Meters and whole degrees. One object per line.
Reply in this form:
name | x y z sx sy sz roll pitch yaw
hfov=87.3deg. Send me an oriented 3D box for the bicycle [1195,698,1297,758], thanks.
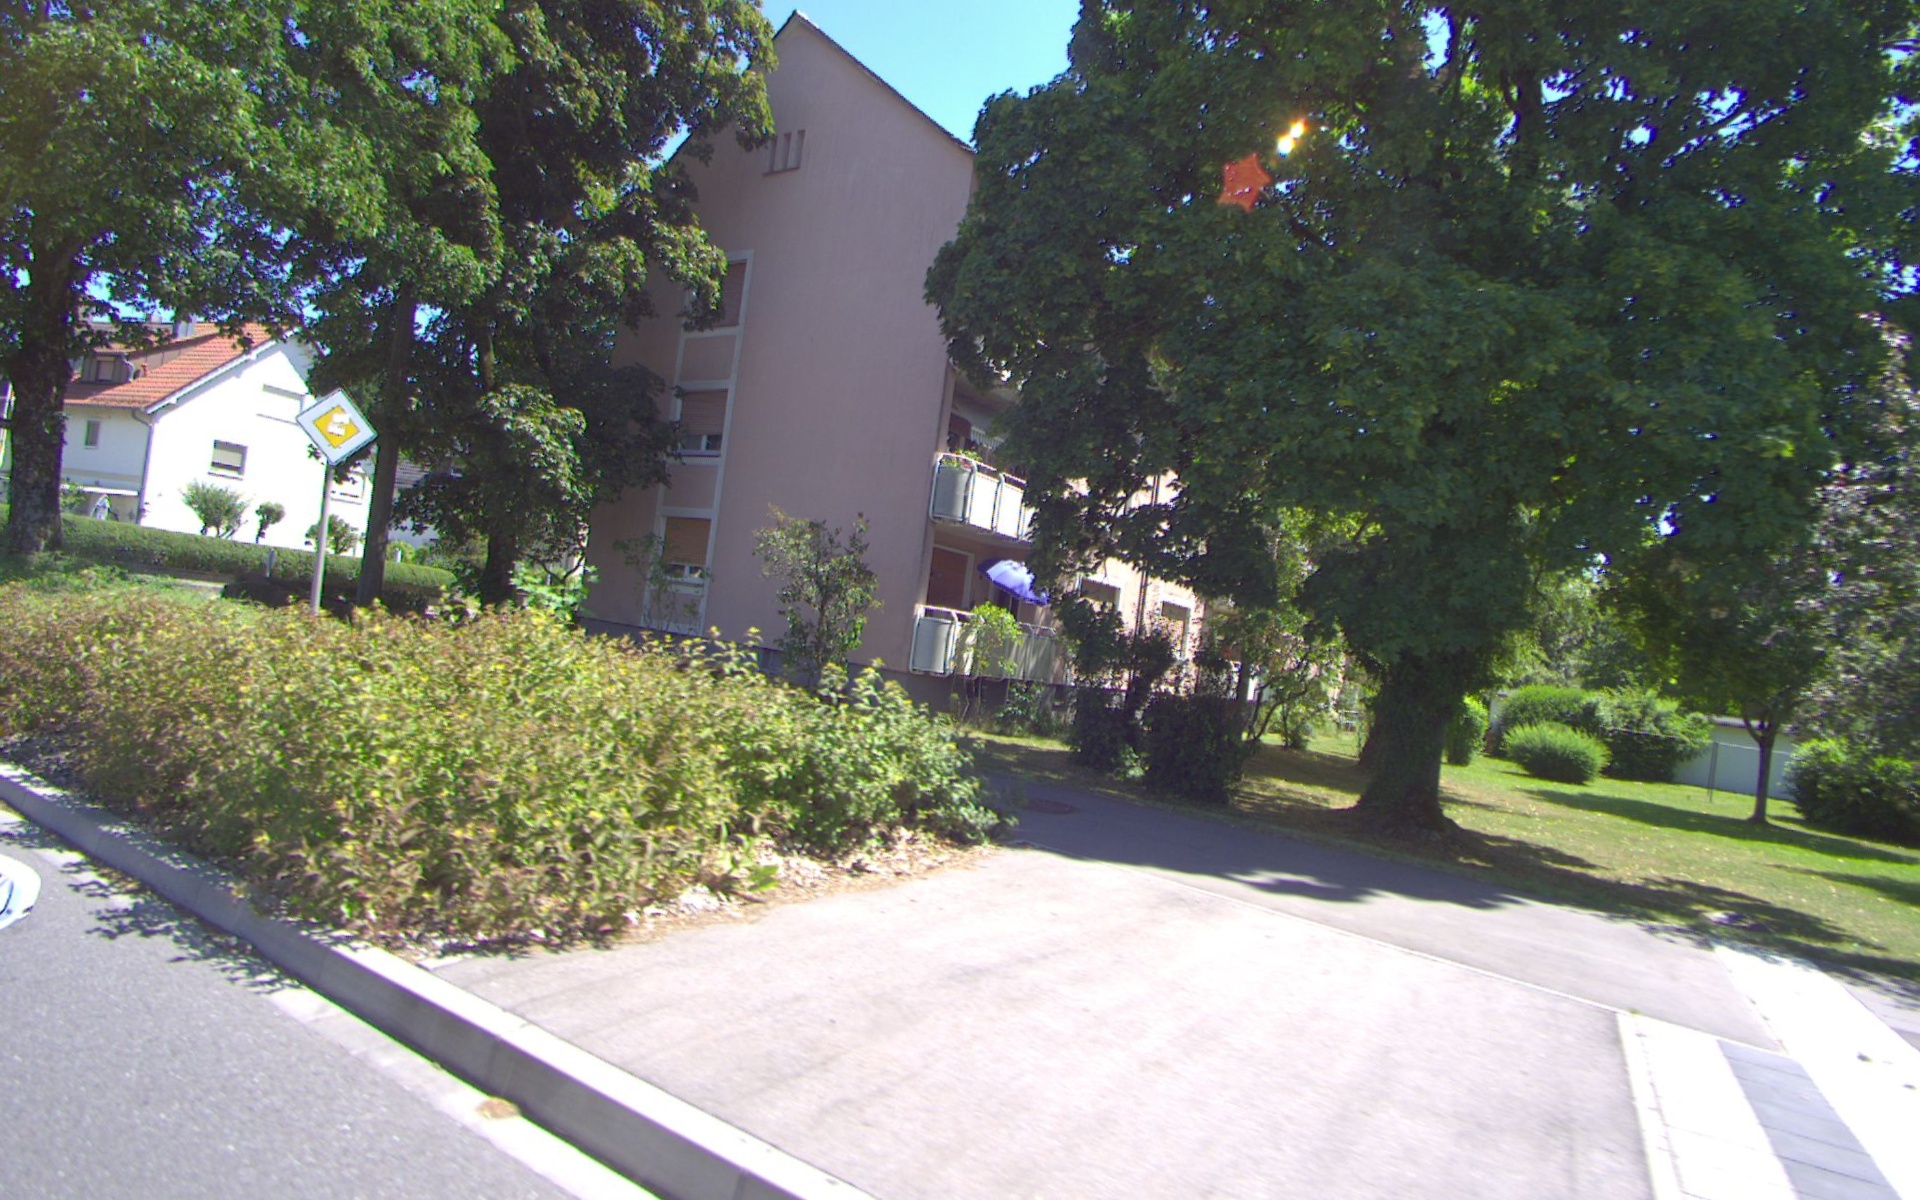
bicycle | 6.859 3.067 24.164 2.149 1.078 0.724 7 -2 33
